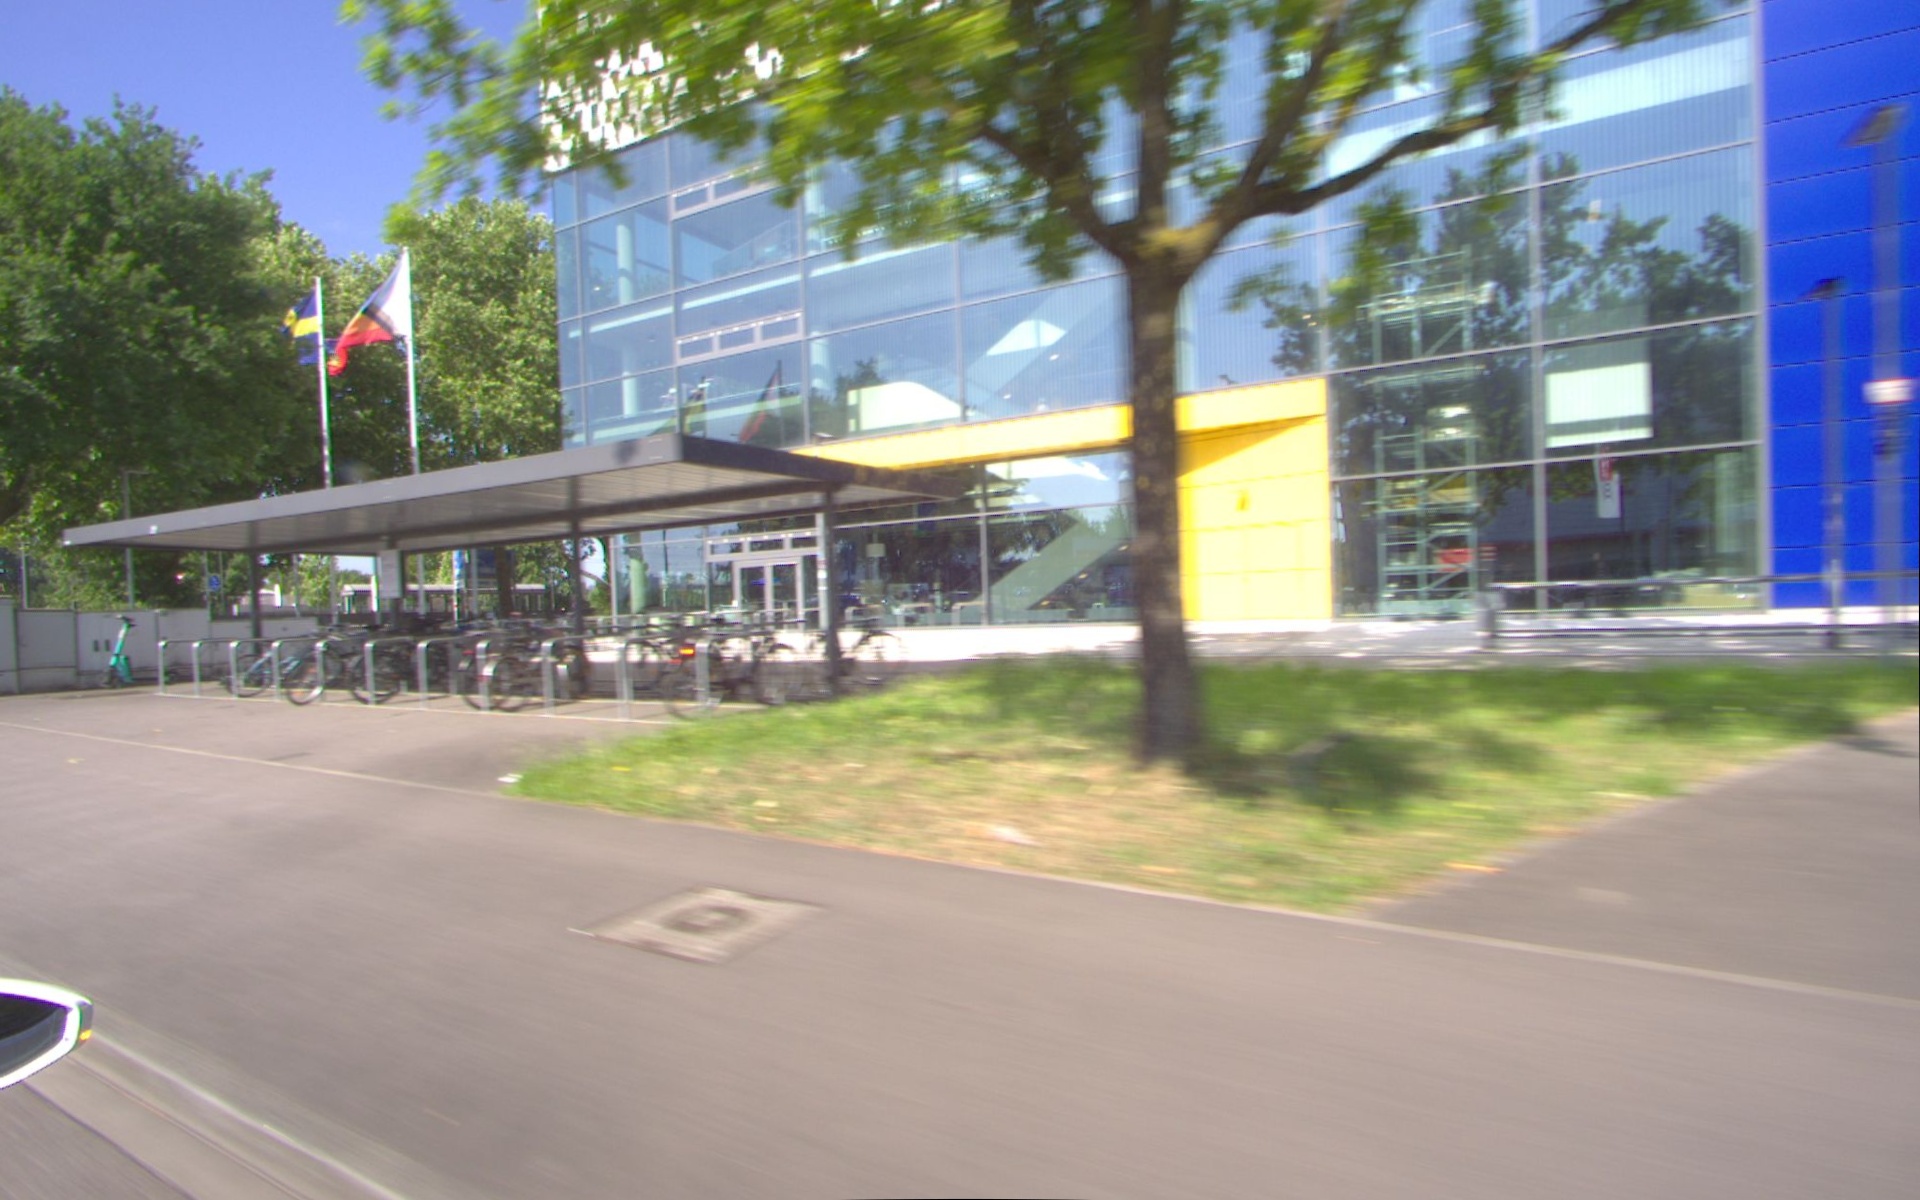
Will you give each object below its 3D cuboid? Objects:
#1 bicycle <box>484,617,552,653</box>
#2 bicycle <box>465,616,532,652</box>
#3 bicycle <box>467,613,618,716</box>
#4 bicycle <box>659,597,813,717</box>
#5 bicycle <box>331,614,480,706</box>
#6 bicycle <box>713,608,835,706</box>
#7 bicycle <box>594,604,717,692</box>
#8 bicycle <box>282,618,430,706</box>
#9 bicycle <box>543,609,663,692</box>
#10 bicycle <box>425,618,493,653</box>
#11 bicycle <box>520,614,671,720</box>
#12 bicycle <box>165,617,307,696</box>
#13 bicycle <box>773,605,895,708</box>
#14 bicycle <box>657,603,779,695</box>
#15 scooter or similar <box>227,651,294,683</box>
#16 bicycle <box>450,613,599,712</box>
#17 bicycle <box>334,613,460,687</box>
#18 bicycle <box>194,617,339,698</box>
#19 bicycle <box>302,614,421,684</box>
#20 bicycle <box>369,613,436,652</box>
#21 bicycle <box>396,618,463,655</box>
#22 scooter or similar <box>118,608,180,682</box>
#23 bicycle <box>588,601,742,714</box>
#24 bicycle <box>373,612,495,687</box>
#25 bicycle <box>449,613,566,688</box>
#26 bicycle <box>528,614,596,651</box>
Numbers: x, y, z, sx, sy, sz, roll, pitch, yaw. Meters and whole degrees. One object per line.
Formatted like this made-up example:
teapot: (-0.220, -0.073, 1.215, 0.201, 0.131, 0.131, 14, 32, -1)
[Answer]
bicycle: (-11.077, 0.864, 25.143, 0.428, 0.854, 1.557, 0, 1, 33)
bicycle: (-11.764, 0.867, 25.561, 0.427, 0.854, 1.558, 0, 1, 31)
bicycle: (-5.036, 0.743, 12.197, 0.445, 1.111, 1.754, 0, 1, 32)
bicycle: (-2.289, 0.551, 10.467, 0.445, 1.111, 1.754, -1, 1, 32)
bicycle: (-7.463, 0.774, 13.565, 0.445, 1.111, 1.754, 0, 1, 32)
bicycle: (-2.316, 0.682, 12.674, 0.445, 1.111, 1.754, 0, 1, 32)
bicycle: (-4.172, 0.630, 13.835, 0.445, 1.111, 1.754, 0, 1, 32)
bicycle: (-8.452, 0.838, 14.087, 0.445, 1.111, 1.754, 0, 1, 32)
bicycle: (-5.222, 0.714, 14.772, 0.445, 1.111, 1.754, 0, 1, 32)
bicycle: (-13.029, 0.905, 26.079, 0.428, 0.854, 1.557, 0, 1, 33)
bicycle: (-4.231, 0.742, 11.759, 0.445, 1.111, 1.754, 0, 1, 32)
bicycle: (-11.367, 0.857, 15.784, 0.445, 1.111, 1.754, 0, 1, 32)
bicycle: (-1.474, 0.639, 12.040, 0.445, 1.111, 1.754, 0, 1, 32)
bicycle: (-3.177, 0.614, 13.321, 0.445, 1.111, 1.754, 0, 1, 32)
scooter or similar: (-12.368, 1.172, 17.710, 0.908, 0.457, 0.954, -3, 1, -38)
bicycle: (-5.436, 0.745, 12.606, 0.445, 1.111, 1.754, 0, 1, 32)
bicycle: (-9.390, 0.806, 16.776, 0.445, 1.111, 1.824, 0, 1, 32)
bicycle: (-10.529, 0.839, 15.266, 0.445, 1.111, 1.754, 0, 1, 32)
bicycle: (-10.373, 0.819, 17.422, 0.445, 1.111, 1.754, 0, 1, 32)
bicycle: (-15.203, 0.875, 27.337, 0.428, 1.008, 1.557, 0, 1, 33)
bicycle: (-14.219, 0.961, 26.859, 0.428, 0.922, 1.557, 0, 1, 33)
scooter or similar: (-14.538, 0.793, 17.956, 0.279, 1.282, 0.775, 0, 2, 29)
bicycle: (-3.203, 0.588, 11.034, 0.456, 1.111, 1.754, 0, 1, 32)
bicycle: (-8.506, 0.772, 16.274, 0.445, 1.111, 1.754, 0, 1, 32)
bicycle: (-7.278, 0.784, 16.181, 0.445, 1.111, 1.754, 0, 1, 32)
bicycle: (-9.701, 0.785, 24.456, 0.428, 0.854, 1.557, 0, 1, 33)
